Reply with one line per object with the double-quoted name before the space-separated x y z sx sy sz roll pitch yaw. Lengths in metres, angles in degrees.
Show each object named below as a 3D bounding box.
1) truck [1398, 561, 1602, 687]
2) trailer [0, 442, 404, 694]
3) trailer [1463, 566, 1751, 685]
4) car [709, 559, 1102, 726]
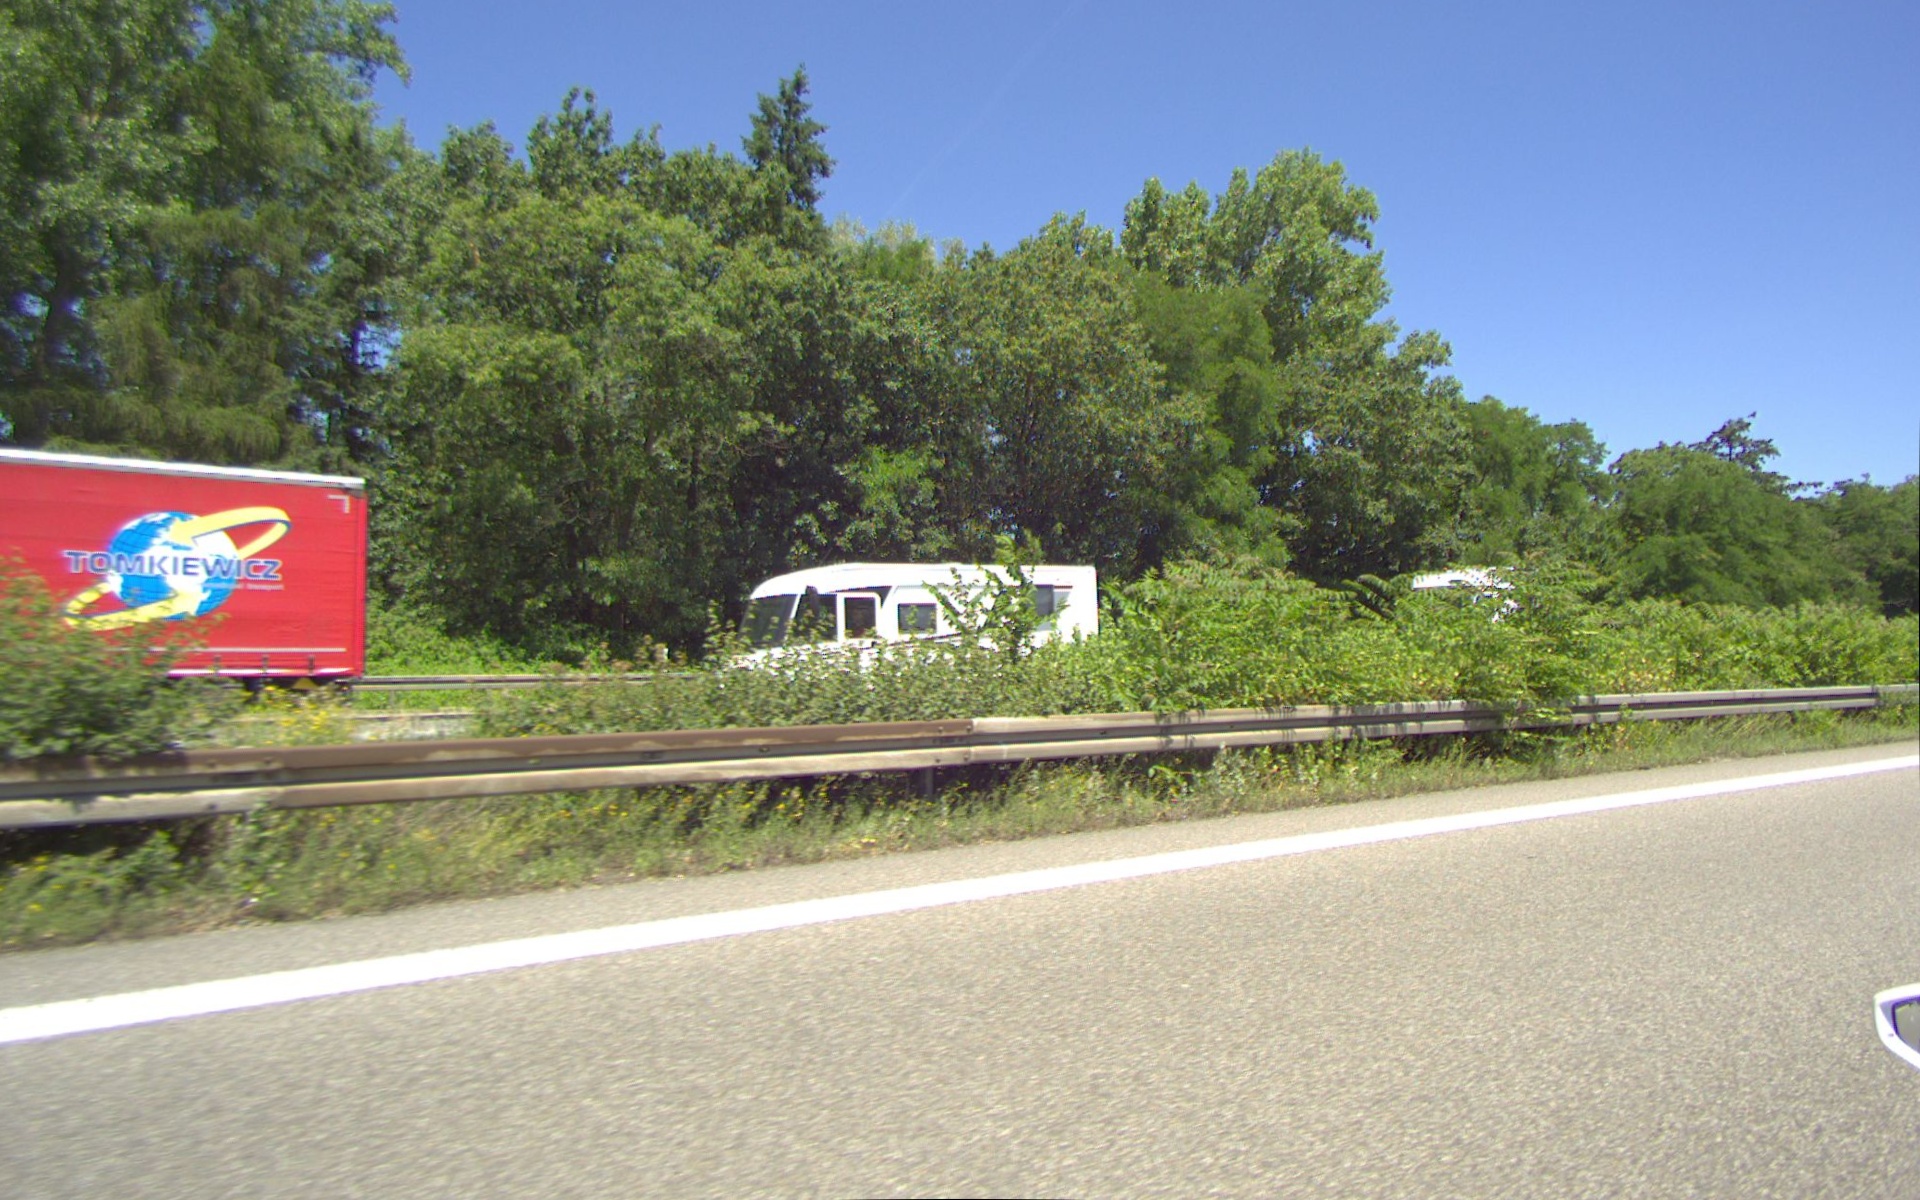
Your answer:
"truck" 17.679 0.784 32.784 6.744 3.755 2.579 1 0 -29
"trailer" -15.659 -0.504 13.771 13.991 3.463 2.574 1 0 -31
"trailer" 23.521 0.938 36.051 13.521 3.755 2.579 1 0 -29
"car" -0.795 0.542 17.252 6.443 2.434 2.290 -1 2 -31
